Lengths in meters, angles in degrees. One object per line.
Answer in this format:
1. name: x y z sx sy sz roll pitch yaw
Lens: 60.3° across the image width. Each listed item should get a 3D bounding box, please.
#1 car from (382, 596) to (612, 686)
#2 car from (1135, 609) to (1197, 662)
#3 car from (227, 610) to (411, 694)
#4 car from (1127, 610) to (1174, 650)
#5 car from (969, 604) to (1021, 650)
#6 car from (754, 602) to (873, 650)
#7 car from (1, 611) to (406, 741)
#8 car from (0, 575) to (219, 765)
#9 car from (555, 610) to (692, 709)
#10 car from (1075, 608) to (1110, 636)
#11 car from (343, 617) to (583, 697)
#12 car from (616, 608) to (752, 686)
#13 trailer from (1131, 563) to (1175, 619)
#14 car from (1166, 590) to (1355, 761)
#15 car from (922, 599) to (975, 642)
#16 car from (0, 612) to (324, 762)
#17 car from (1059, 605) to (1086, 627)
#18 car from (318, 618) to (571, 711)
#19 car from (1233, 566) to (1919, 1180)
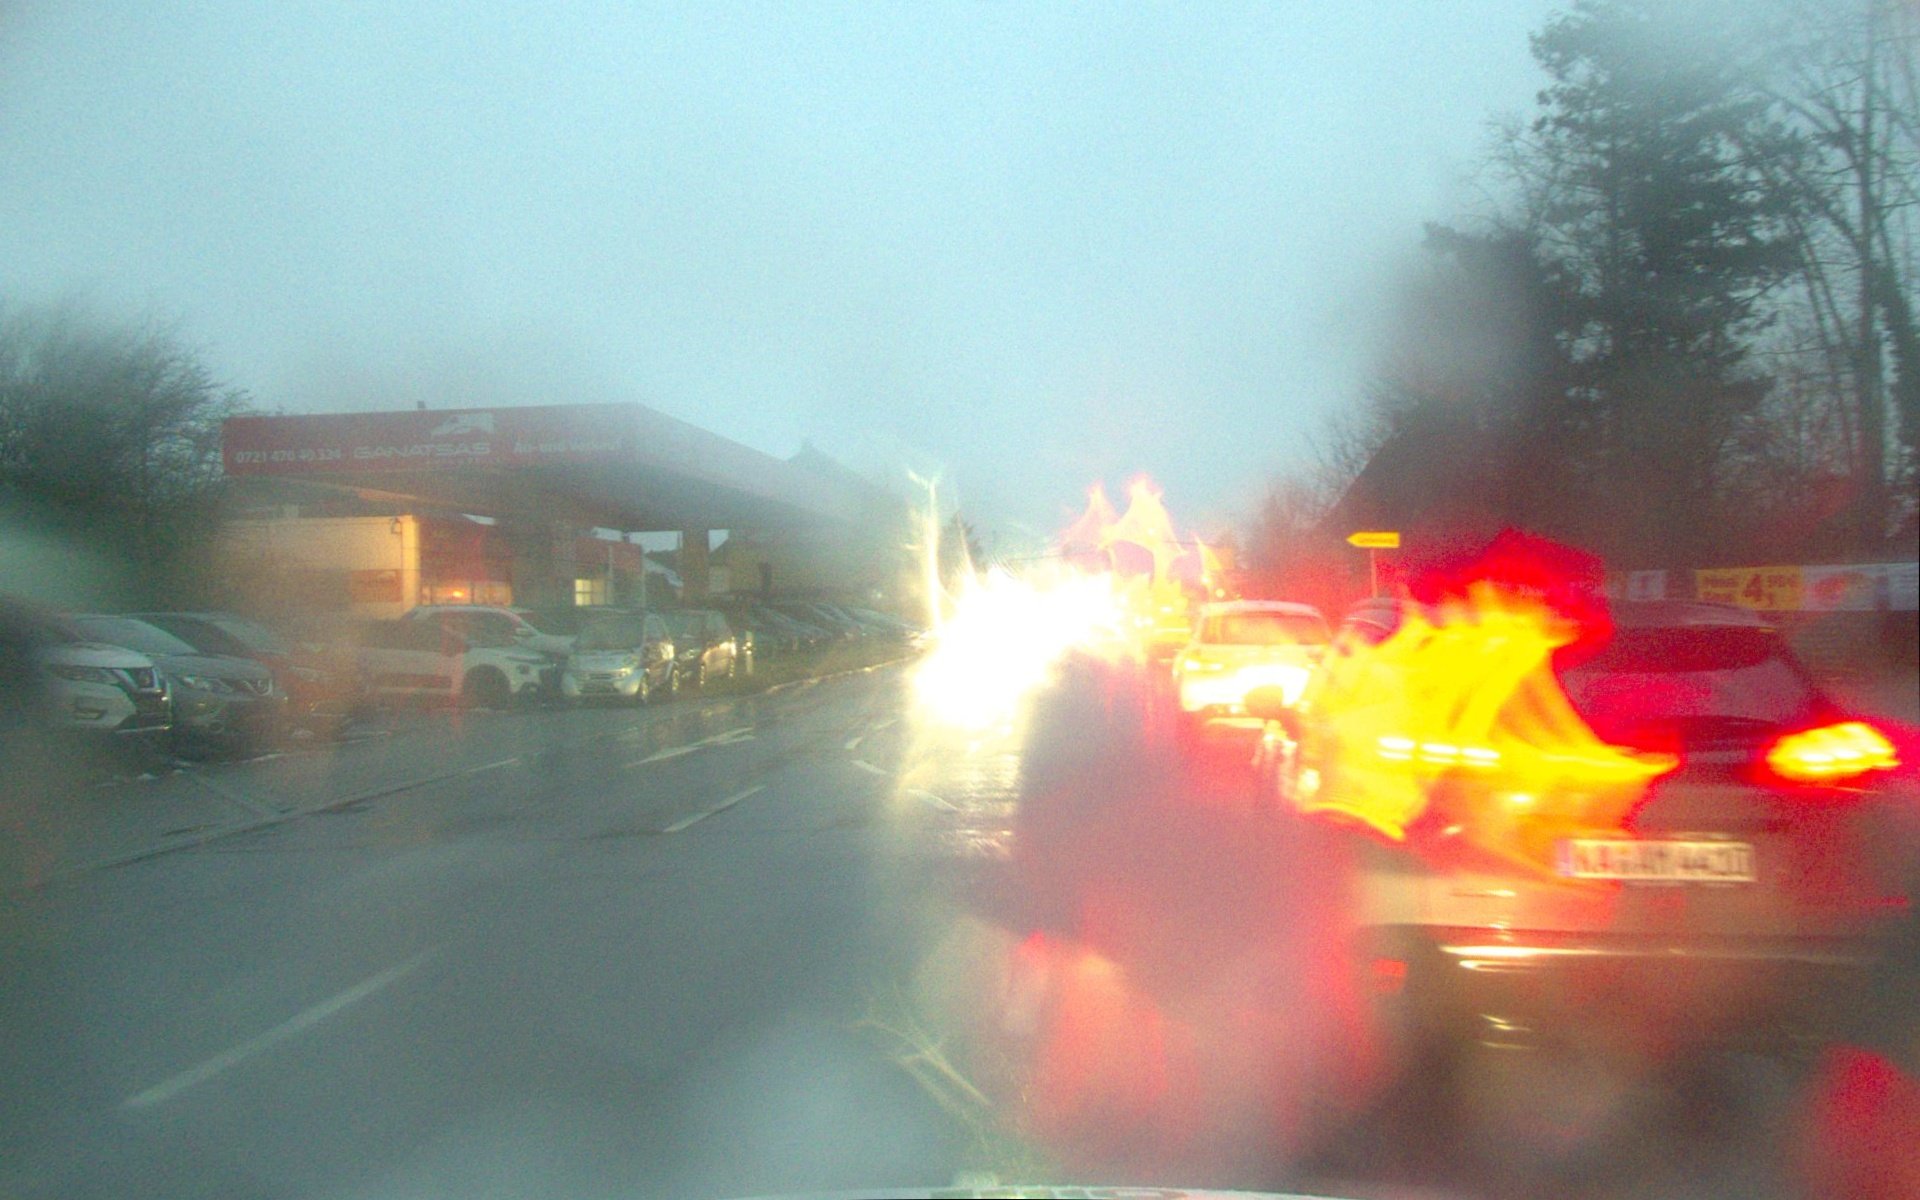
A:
1. car: -9.215 0.808 33.067 3.961 1.679 1.943 -1 0 8
2. car: 5.692 0.970 46.041 1.606 1.390 4.772 0 -1 6
3. car: -12.656 0.987 32.927 1.795 1.515 3.874 0 0 7
4. car: 6.906 1.069 60.046 1.618 1.359 4.275 -1 0 6
5. car: 1.303 0.959 60.841 1.569 1.561 4.002 -3 0 5
6. car: -5.587 0.990 63.523 4.186 1.691 2.001 2 0 6
7. car: -9.377 0.919 20.681 4.244 1.524 1.827 -1 0 6
8. car: -9.830 0.650 15.963 4.440 1.706 2.011 -1 0 2
9. car: -5.838 0.999 29.019 1.486 1.570 3.017 -2 0 5
10. car: 8.111 1.334 101.501 2.004 1.600 4.704 -2 -1 3
11. car: -9.040 1.009 30.259 3.777 1.369 1.841 0 0 5
12. car: -5.449 0.900 33.058 1.647 1.445 3.743 -1 0 7
13. trailer: 11.907 -0.462 102.677 2.435 3.297 10.875 0 -1 5
14. car: 3.124 0.724 17.912 1.672 1.603 4.467 -1 0 6
15. car: -0.500 0.947 76.665 1.929 1.862 4.515 -2 0 6
16. car: -9.526 0.917 18.247 4.243 1.524 1.996 -1 0 8
17. car: 9.853 1.375 144.753 1.951 1.777 4.003 -2 -1 9
18. car: -8.702 1.073 28.113 3.693 1.485 1.777 0 0 3
19. car: 1.929 0.705 6.269 1.532 1.556 4.009 0 0 6
